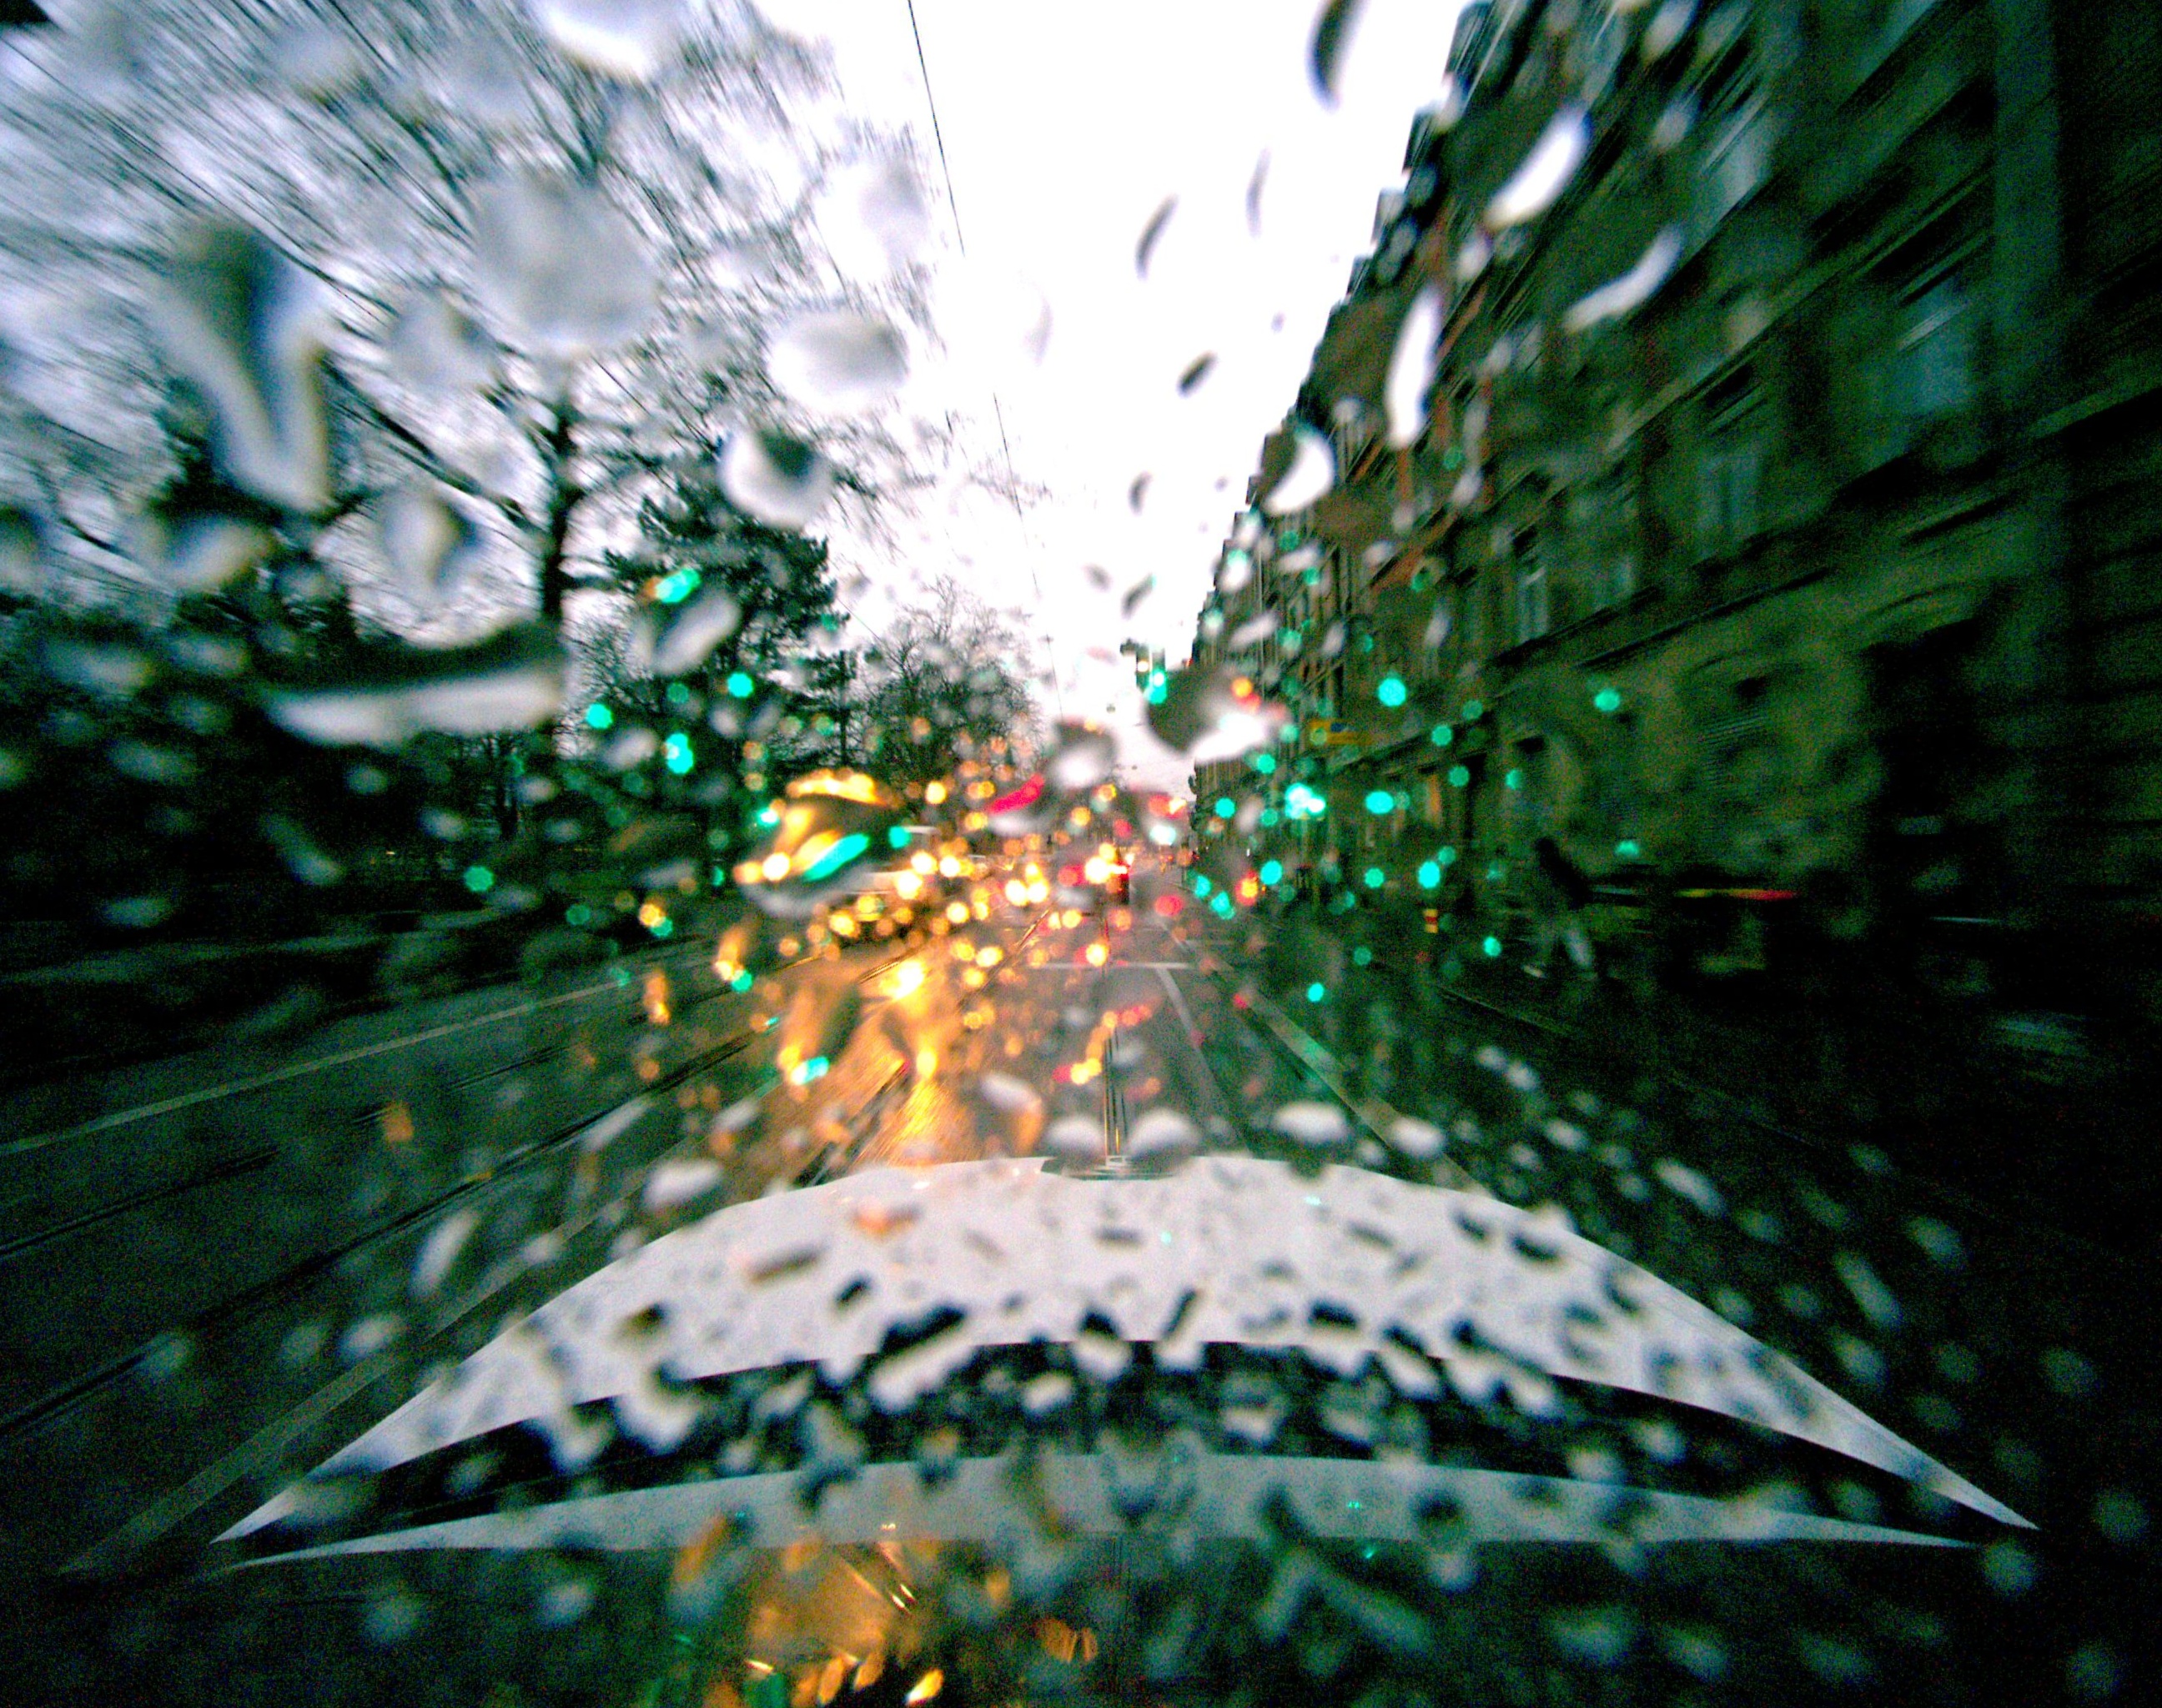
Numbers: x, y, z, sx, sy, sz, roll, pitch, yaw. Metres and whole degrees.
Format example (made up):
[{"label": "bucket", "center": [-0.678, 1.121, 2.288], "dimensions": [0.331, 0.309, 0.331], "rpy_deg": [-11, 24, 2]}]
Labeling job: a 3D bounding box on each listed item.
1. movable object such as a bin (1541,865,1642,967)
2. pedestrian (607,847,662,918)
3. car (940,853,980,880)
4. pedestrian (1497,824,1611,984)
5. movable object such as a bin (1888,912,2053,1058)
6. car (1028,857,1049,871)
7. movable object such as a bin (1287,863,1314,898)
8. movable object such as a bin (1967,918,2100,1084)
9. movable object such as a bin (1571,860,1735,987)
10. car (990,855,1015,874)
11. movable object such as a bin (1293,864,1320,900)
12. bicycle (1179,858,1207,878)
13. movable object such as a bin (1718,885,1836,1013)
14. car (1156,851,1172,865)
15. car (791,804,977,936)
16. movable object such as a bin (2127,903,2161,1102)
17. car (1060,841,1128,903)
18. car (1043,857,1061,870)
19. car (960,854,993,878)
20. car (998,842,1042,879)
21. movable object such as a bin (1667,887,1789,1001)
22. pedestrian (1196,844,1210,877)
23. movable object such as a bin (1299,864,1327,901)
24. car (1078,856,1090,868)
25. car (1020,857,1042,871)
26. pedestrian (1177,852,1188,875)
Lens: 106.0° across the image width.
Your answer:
[{"label": "movable object such as a bin", "center": [6.426, 0.759, 10.296], "dimensions": [0.762, 1.210, 0.819], "rpy_deg": [-1, 0, 1]}, {"label": "pedestrian", "center": [-11.740, 0.745, 21.450], "dimensions": [0.816, 1.815, 1.010], "rpy_deg": [0, -1, 4]}, {"label": "car", "center": [-7.387, 0.741, 50.175], "dimensions": [1.979, 1.615, 4.424], "rpy_deg": [0, -1, -3]}, {"label": "pedestrian", "center": [5.311, 0.540, 9.208], "dimensions": [0.829, 1.701, 0.955], "rpy_deg": [0, -1, 9]}, {"label": "movable object such as a bin", "center": [6.214, 0.896, 5.710], "dimensions": [0.609, 0.929, 0.491], "rpy_deg": [-1, 0, -1]}, {"label": "car", "center": [-5.119, 1.181, 99.003], "dimensions": [1.974, 1.615, 4.435], "rpy_deg": [0, -1, 5]}, {"label": "movable object such as a bin", "center": [6.835, 0.820, 25.398], "dimensions": [0.638, 1.055, 0.744], "rpy_deg": [0, -1, 1]}, {"label": "movable object such as a bin", "center": [5.978, 0.892, 5.115], "dimensions": [0.490, 0.929, 0.421], "rpy_deg": [-1, 0, -25]}, {"label": "movable object such as a bin", "center": [6.349, 0.722, 9.118], "dimensions": [0.886, 1.288, 1.260], "rpy_deg": [-1, 0, -6]}, {"label": "car", "center": [-6.983, 0.947, 72.813], "dimensions": [1.979, 1.615, 4.424], "rpy_deg": [0, -1, -3]}, {"label": "movable object such as a bin", "center": [6.810, 0.835, 24.634], "dimensions": [0.638, 1.055, 0.744], "rpy_deg": [0, -1, 1]}, {"label": "bicycle", "center": [6.652, 0.822, 48.527], "dimensions": [0.795, 1.144, 2.229], "rpy_deg": [0, -1, -18]}, {"label": "movable object such as a bin", "center": [6.309, 0.836, 7.416], "dimensions": [0.606, 1.082, 0.602], "rpy_deg": [-1, 0, 16]}, {"label": "car", "center": [10.944, 0.563, 107.505], "dimensions": [1.985, 1.842, 4.004], "rpy_deg": [-1, 0, 4]}, {"label": "car", "center": [-3.977, 0.322, 17.831], "dimensions": [2.437, 2.347, 5.846], "rpy_deg": [-1, -1, 2]}, {"label": "movable object such as a bin", "center": [6.377, 0.844, 4.585], "dimensions": [0.614, 1.080, 0.487], "rpy_deg": [-1, 0, -27]}, {"label": "car", "center": [0.503, 0.547, 26.273], "dimensions": [1.985, 1.842, 4.004], "rpy_deg": [-1, 0, 4]}, {"label": "car", "center": [-3.817, 1.255, 107.415], "dimensions": [1.975, 1.615, 4.433], "rpy_deg": [0, -1, 4]}, {"label": "car", "center": [-7.242, 0.802, 56.870], "dimensions": [1.979, 1.615, 4.424], "rpy_deg": [0, -1, -3]}, {"label": "car", "center": [-3.468, 0.371, 47.060], "dimensions": [1.985, 2.014, 4.003], "rpy_deg": [0, -1, 3]}, {"label": "movable object such as a bin", "center": [6.372, 0.865, 8.059], "dimensions": [0.759, 1.038, 0.602], "rpy_deg": [-1, 0, 16]}, {"label": "pedestrian", "center": [7.291, 0.407, 48.731], "dimensions": [0.713, 1.953, 0.657], "rpy_deg": [0, -1, 1]}, {"label": "movable object such as a bin", "center": [6.793, 0.828, 23.866], "dimensions": [0.638, 1.055, 0.744], "rpy_deg": [0, -1, 1]}, {"label": "car", "center": [0.553, 1.294, 136.689], "dimensions": [1.986, 2.014, 4.001], "rpy_deg": [0, -1, 1]}, {"label": "car", "center": [-5.739, 1.136, 93.887], "dimensions": [1.974, 1.615, 4.435], "rpy_deg": [0, -1, 5]}, {"label": "pedestrian", "center": [7.864, 0.753, 63.061], "dimensions": [0.769, 1.775, 0.685], "rpy_deg": [0, -1, 1]}]
